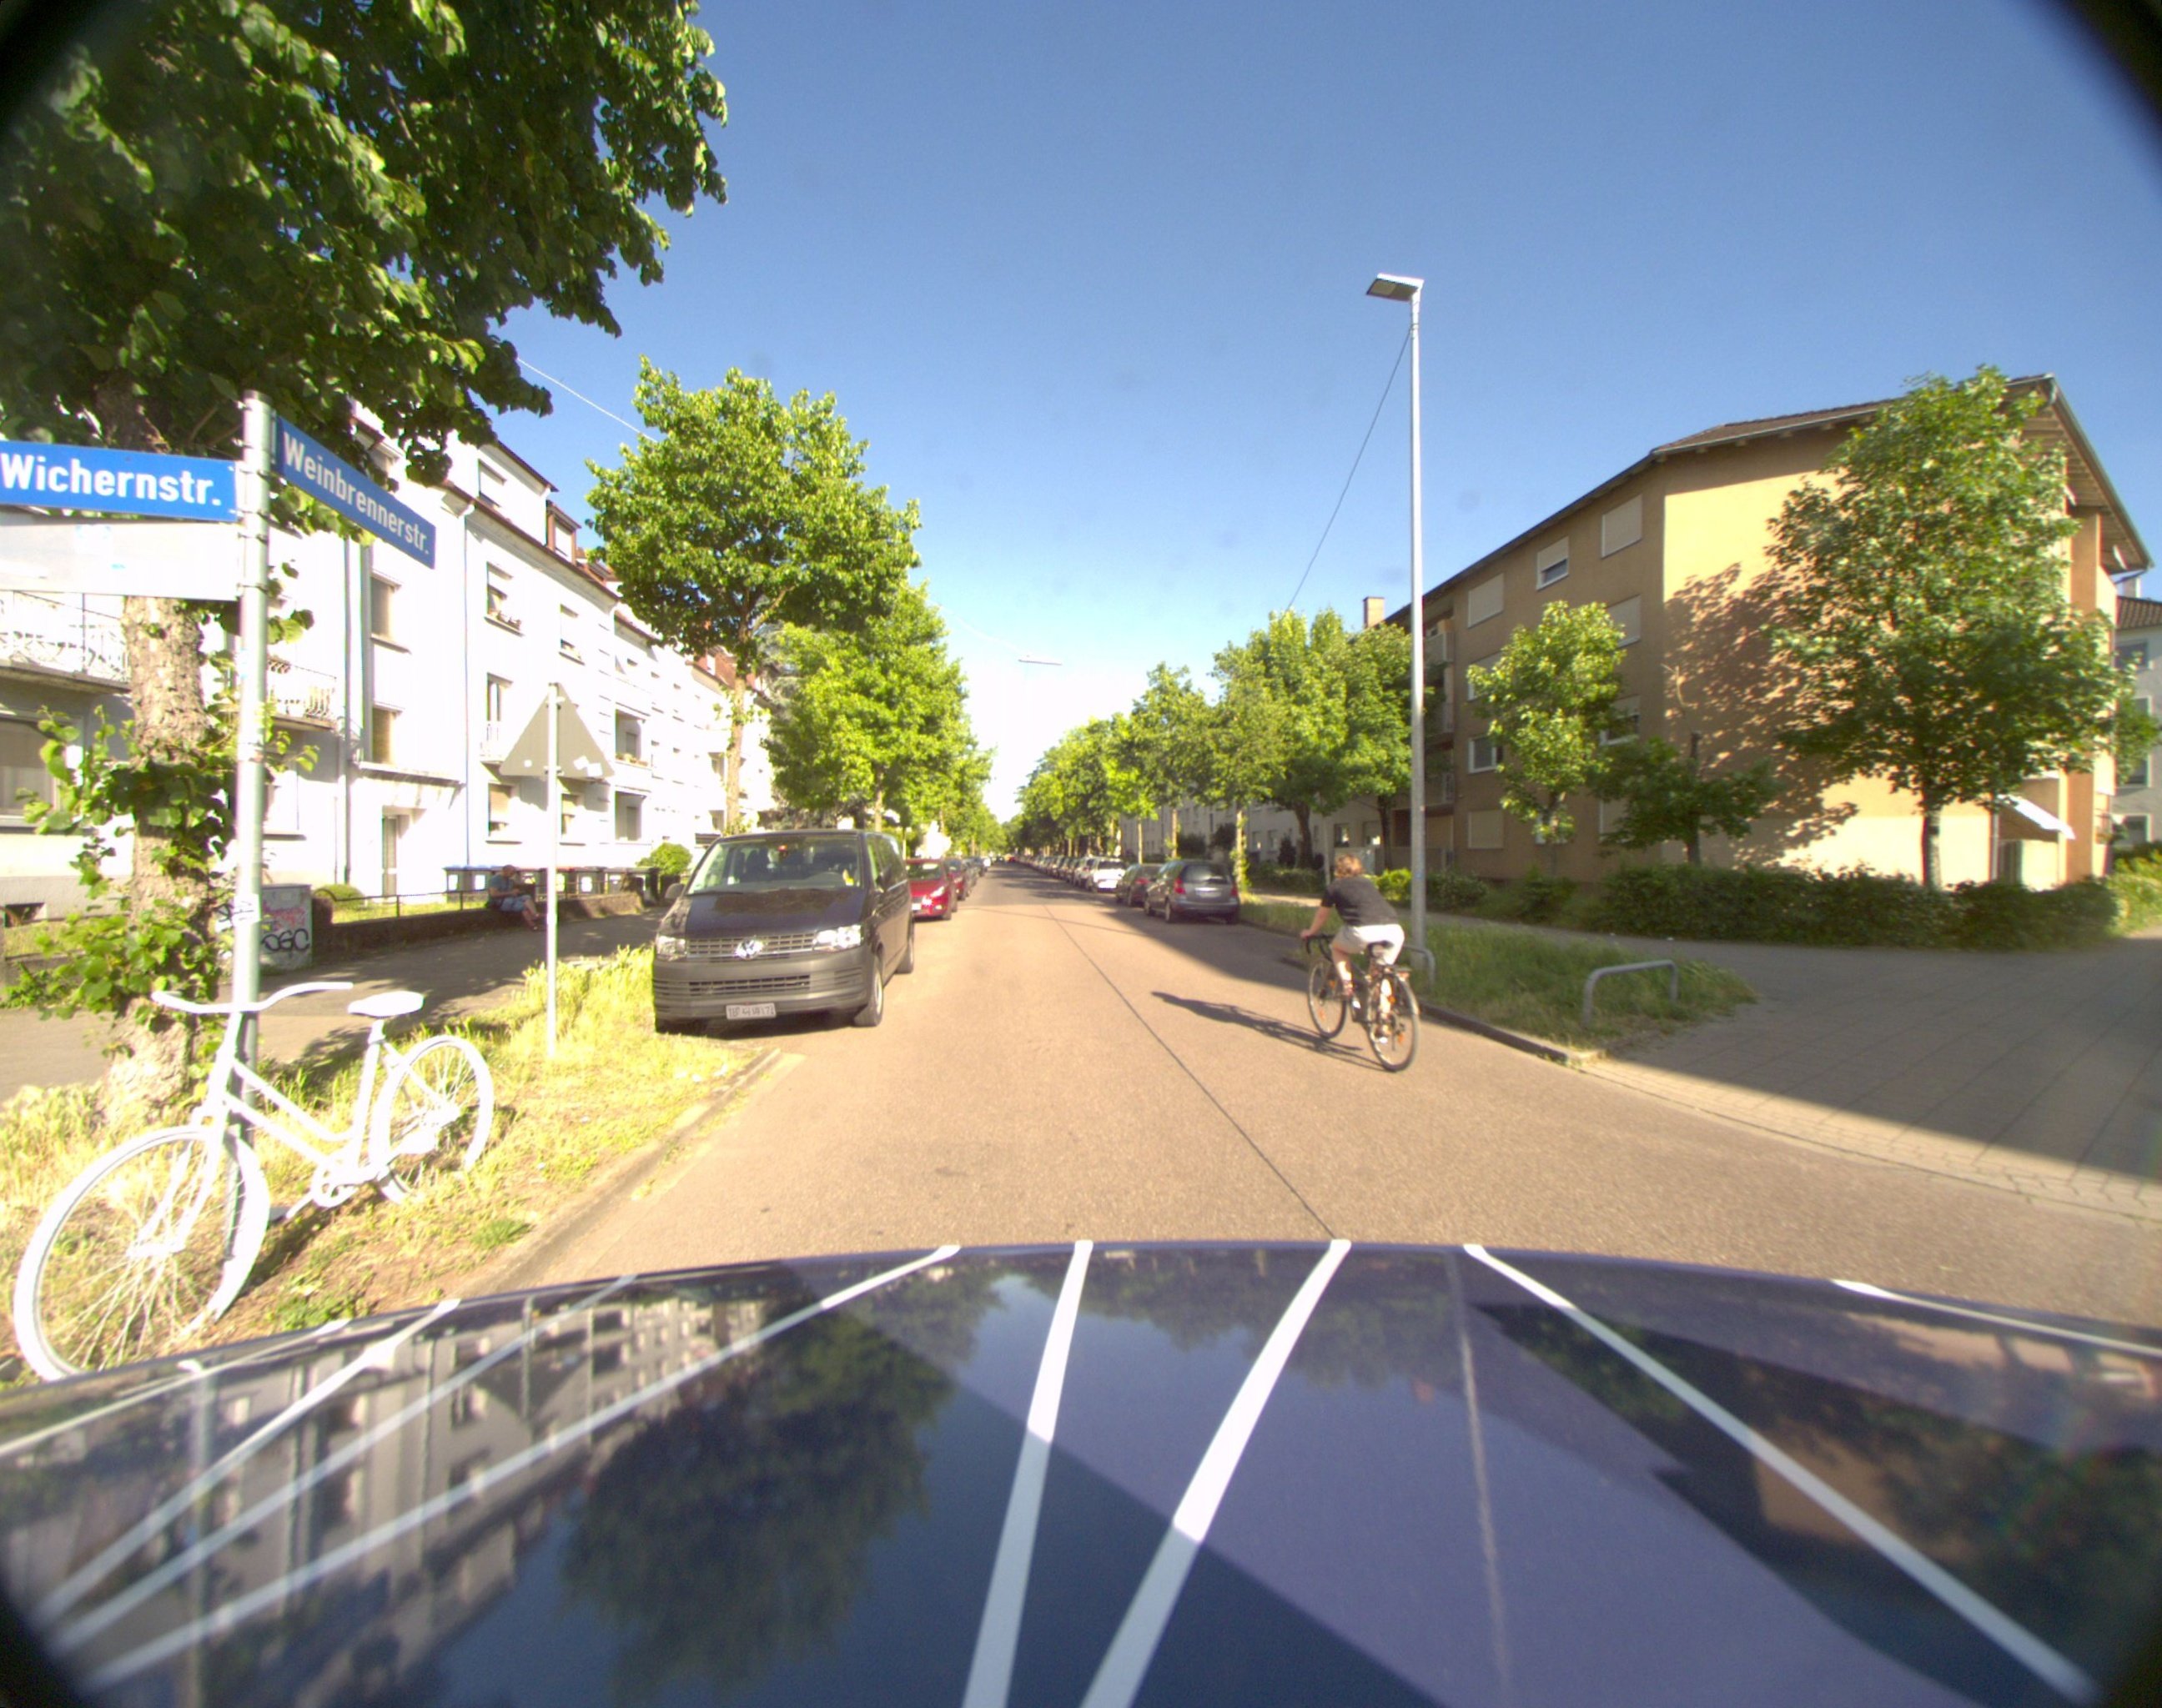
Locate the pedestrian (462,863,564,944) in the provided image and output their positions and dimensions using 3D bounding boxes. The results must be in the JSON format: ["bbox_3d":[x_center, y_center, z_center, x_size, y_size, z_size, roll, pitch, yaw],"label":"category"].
[{"bbox_3d":[-9.822,0.836,13.176,1.085,1.288,0.818,-2,2,-7],"label":"pedestrian"}]

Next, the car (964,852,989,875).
[{"bbox_3d":[-8.026,0.697,58.478,1.770,1.627,4.012,-2,1,-8],"label":"car"}]

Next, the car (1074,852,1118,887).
[{"bbox_3d":[0.732,0.768,39.918,1.709,1.670,4.220,1,1,-6],"label":"car"}]

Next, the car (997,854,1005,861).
[{"bbox_3d":[-18.682,0.856,177.406,1.770,1.486,3.780,0,0,-7],"label":"car"}]

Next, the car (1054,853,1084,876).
[{"bbox_3d":[-0.912,0.722,55.399,1.821,1.576,4.405,1,0,-6],"label":"car"}]

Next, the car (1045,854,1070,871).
[{"bbox_3d":[-2.119,0.739,66.959,1.880,1.367,4.180,1,1,-6],"label":"car"}]

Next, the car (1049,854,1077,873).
[{"bbox_3d":[-1.484,0.760,60.440,1.880,1.367,4.065,1,1,-6],"label":"car"}]

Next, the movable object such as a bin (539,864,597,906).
[{"bbox_3d":[-13.495,0.805,20.013,0.778,1.021,1.009,-2,1,-1],"label":"movable object such as a bin"}]

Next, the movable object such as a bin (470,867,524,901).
[{"bbox_3d":[-15.187,0.784,19.781,0.778,0.817,0.742,-2,1,-1],"label":"movable object such as a bin"}]

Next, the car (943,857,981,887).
[{"bbox_3d":[-6.367,0.921,41.062,1.769,1.389,3.693,-2,1,-6],"label":"car"}]

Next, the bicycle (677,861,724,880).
[{"bbox_3d":[-18.904,0.820,37.752,2.035,0.913,0.558,1,1,-1],"label":"bicycle"}]

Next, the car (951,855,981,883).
[{"bbox_3d":[-6.900,0.859,45.773,1.610,1.456,3.868,-2,1,-8],"label":"car"}]

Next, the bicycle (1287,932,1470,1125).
[{"bbox_3d":[2.183,1.222,5.854,0.550,1.006,1.918,-1,1,-4],"label":"bicycle"}]

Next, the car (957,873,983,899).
[{"bbox_3d":[-7.461,2.126,51.386,1.610,1.416,4.012,-2,1,-8],"label":"car"}]

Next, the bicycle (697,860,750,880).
[{"bbox_3d":[-16.699,0.725,35.521,2.066,0.765,0.626,-4,2,-6],"label":"bicycle"}]

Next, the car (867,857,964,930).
[{"bbox_3d":[-4.317,0.954,20.600,1.904,1.604,4.969,-1,1,-5],"label":"car"}]

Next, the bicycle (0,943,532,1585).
[{"bbox_3d":[-2.793,1.045,2.667,0.530,1.187,2.028,-1,1,-9],"label":"bicycle"}]

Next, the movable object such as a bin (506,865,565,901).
[{"bbox_3d":[-14.347,0.756,19.995,0.777,0.858,1.009,-2,1,0],"label":"movable object such as a bin"}]

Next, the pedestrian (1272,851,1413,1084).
[{"bbox_3d":[2.007,0.814,5.960,0.692,1.631,1.046,-2,2,-1],"label":"pedestrian"}]

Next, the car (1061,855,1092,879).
[{"bbox_3d":[-0.344,0.812,50.294,1.654,1.437,3.964,1,1,-6],"label":"car"}]

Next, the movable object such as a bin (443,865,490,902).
[{"bbox_3d":[-16.021,0.764,19.819,0.672,0.916,0.596,-2,2,-1],"label":"movable object such as a bin"}]

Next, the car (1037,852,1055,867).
[{"bbox_3d":[-3.908,0.566,84.180,1.769,1.487,4.012,-2,1,-6],"label":"car"}]

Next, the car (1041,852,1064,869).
[{"bbox_3d":[-2.764,0.595,72.556,1.880,1.553,4.180,1,1,-6],"label":"car"}]

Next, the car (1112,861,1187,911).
[{"bbox_3d":[2.221,1.008,25.687,1.664,1.387,4.088,-2,1,-7],"label":"car"}]

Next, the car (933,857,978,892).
[{"bbox_3d":[-5.726,0.904,35.134,1.716,1.399,4.487,1,1,-5],"label":"car"}]

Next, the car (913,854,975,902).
[{"bbox_3d":[-5.180,0.864,29.337,1.936,1.558,4.590,2,1,-6],"label":"car"}]

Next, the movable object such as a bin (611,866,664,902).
[{"bbox_3d":[-11.768,0.791,20.200,0.778,0.858,1.009,-2,1,-1],"label":"movable object such as a bin"}]

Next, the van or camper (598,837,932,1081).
[{"bbox_3d":[-3.020,0.782,8.744,1.995,1.852,5.383,-2,1,-6],"label":"van or camper"}]

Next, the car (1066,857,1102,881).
[{"bbox_3d":[0.123,0.873,45.751,1.663,1.384,4.234,0,0,-6],"label":"car"}]

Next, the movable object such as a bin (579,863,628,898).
[{"bbox_3d":[-12.651,0.692,20.135,0.778,0.858,0.765,-2,1,-1],"label":"movable object such as a bin"}]

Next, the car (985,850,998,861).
[{"bbox_3d":[-13.528,0.281,114.683,1.892,1.624,3.886,0,0,-6],"label":"car"}]

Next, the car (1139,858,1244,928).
[{"bbox_3d":[2.783,0.948,20.041,1.725,1.553,4.105,1,1,-7],"label":"car"}]

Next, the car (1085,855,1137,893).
[{"bbox_3d":[1.290,0.864,34.684,1.722,1.517,3.997,-2,1,-7],"label":"car"}]
